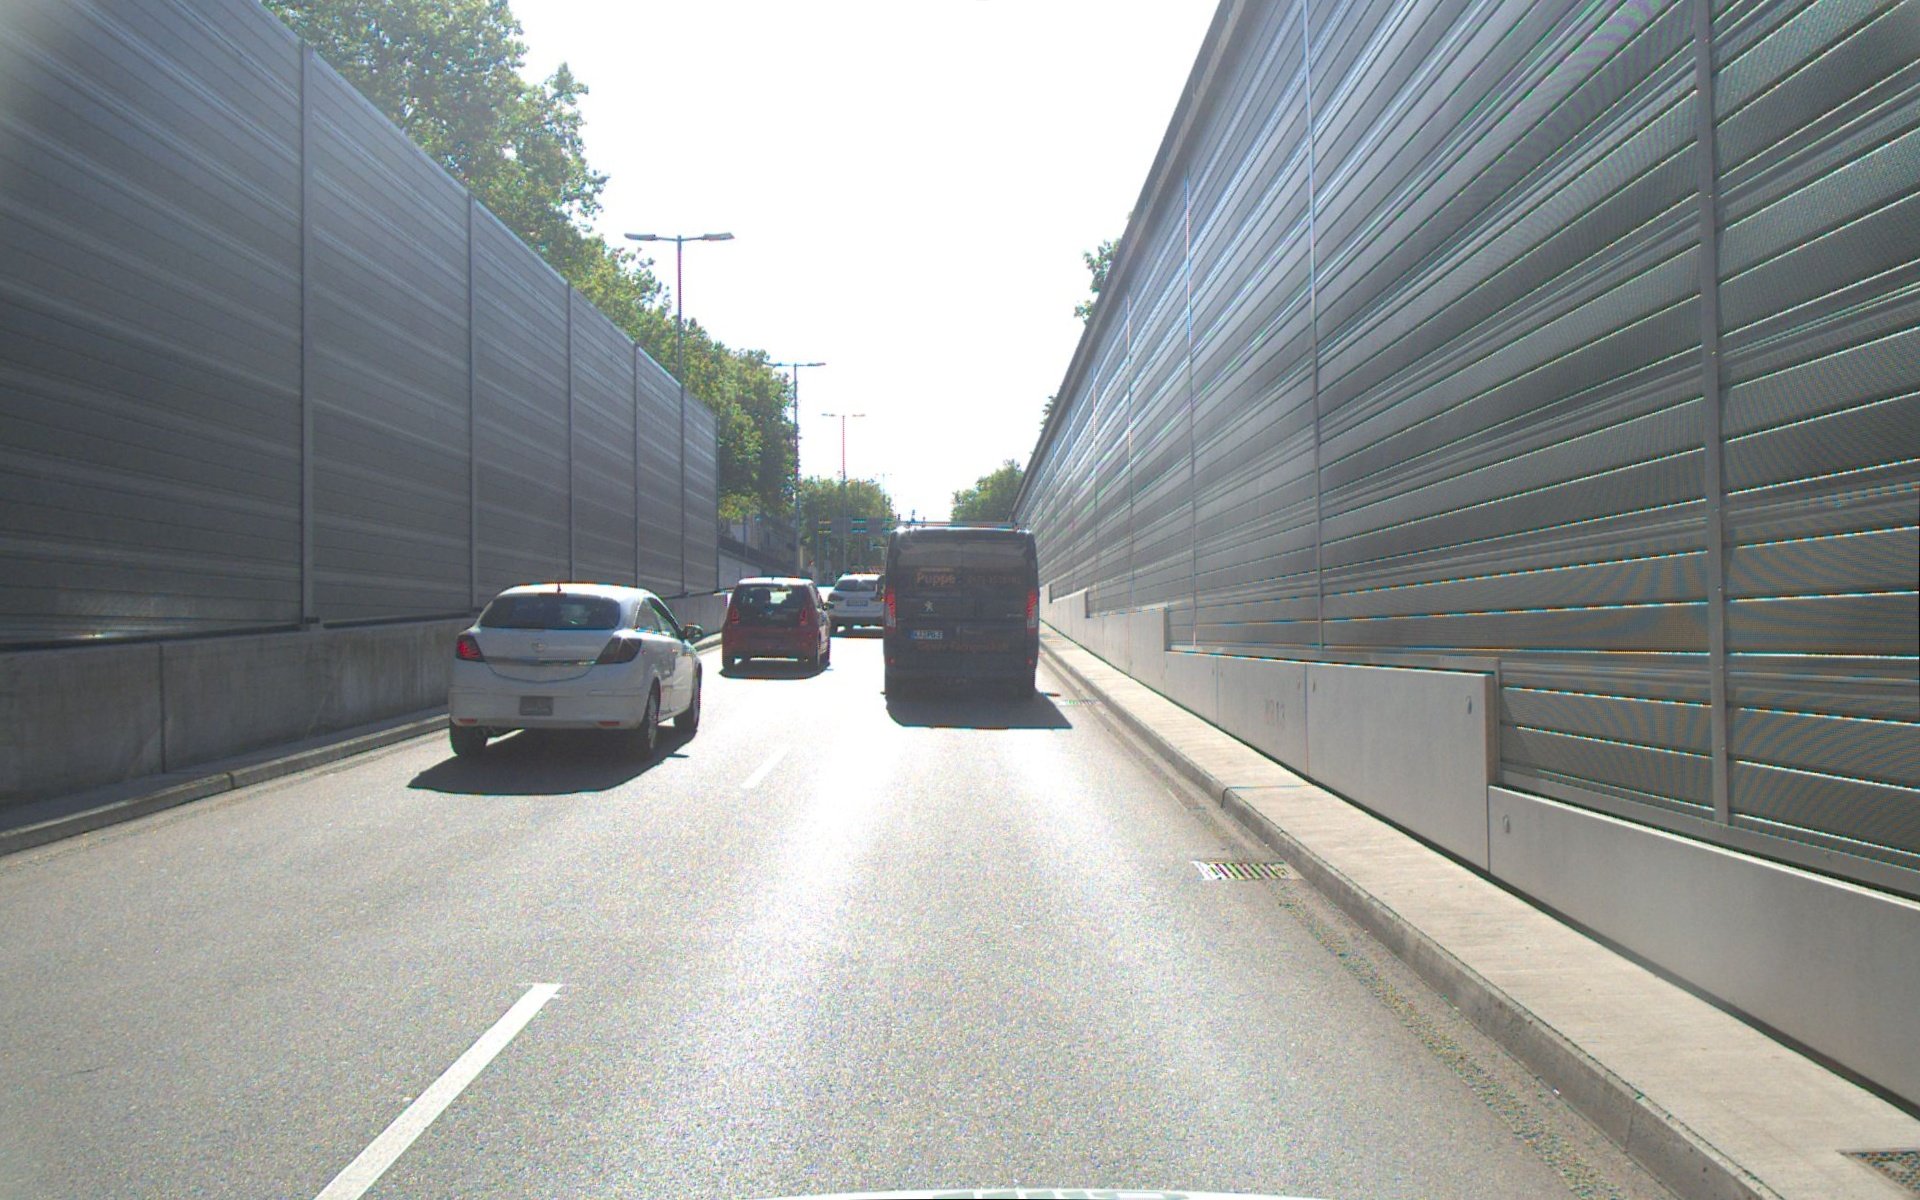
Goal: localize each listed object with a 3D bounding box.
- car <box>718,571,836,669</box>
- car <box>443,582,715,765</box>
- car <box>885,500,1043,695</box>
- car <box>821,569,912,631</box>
[{"bbox_3d":[-3.035,0.289,27.992,1.654,1.509,3.319,1,2,-1],"label":"car"},{"bbox_3d":[-3.301,0.564,15.031,1.586,1.428,3.852,1,1,0],"label":"car"},{"bbox_3d":[0.051,-0.058,22.754,1.988,2.444,3.973,0,1,0],"label":"car"},{"bbox_3d":[-2.353,-0.035,42.631,1.852,1.500,3.993,1,1,4],"label":"car"}]
